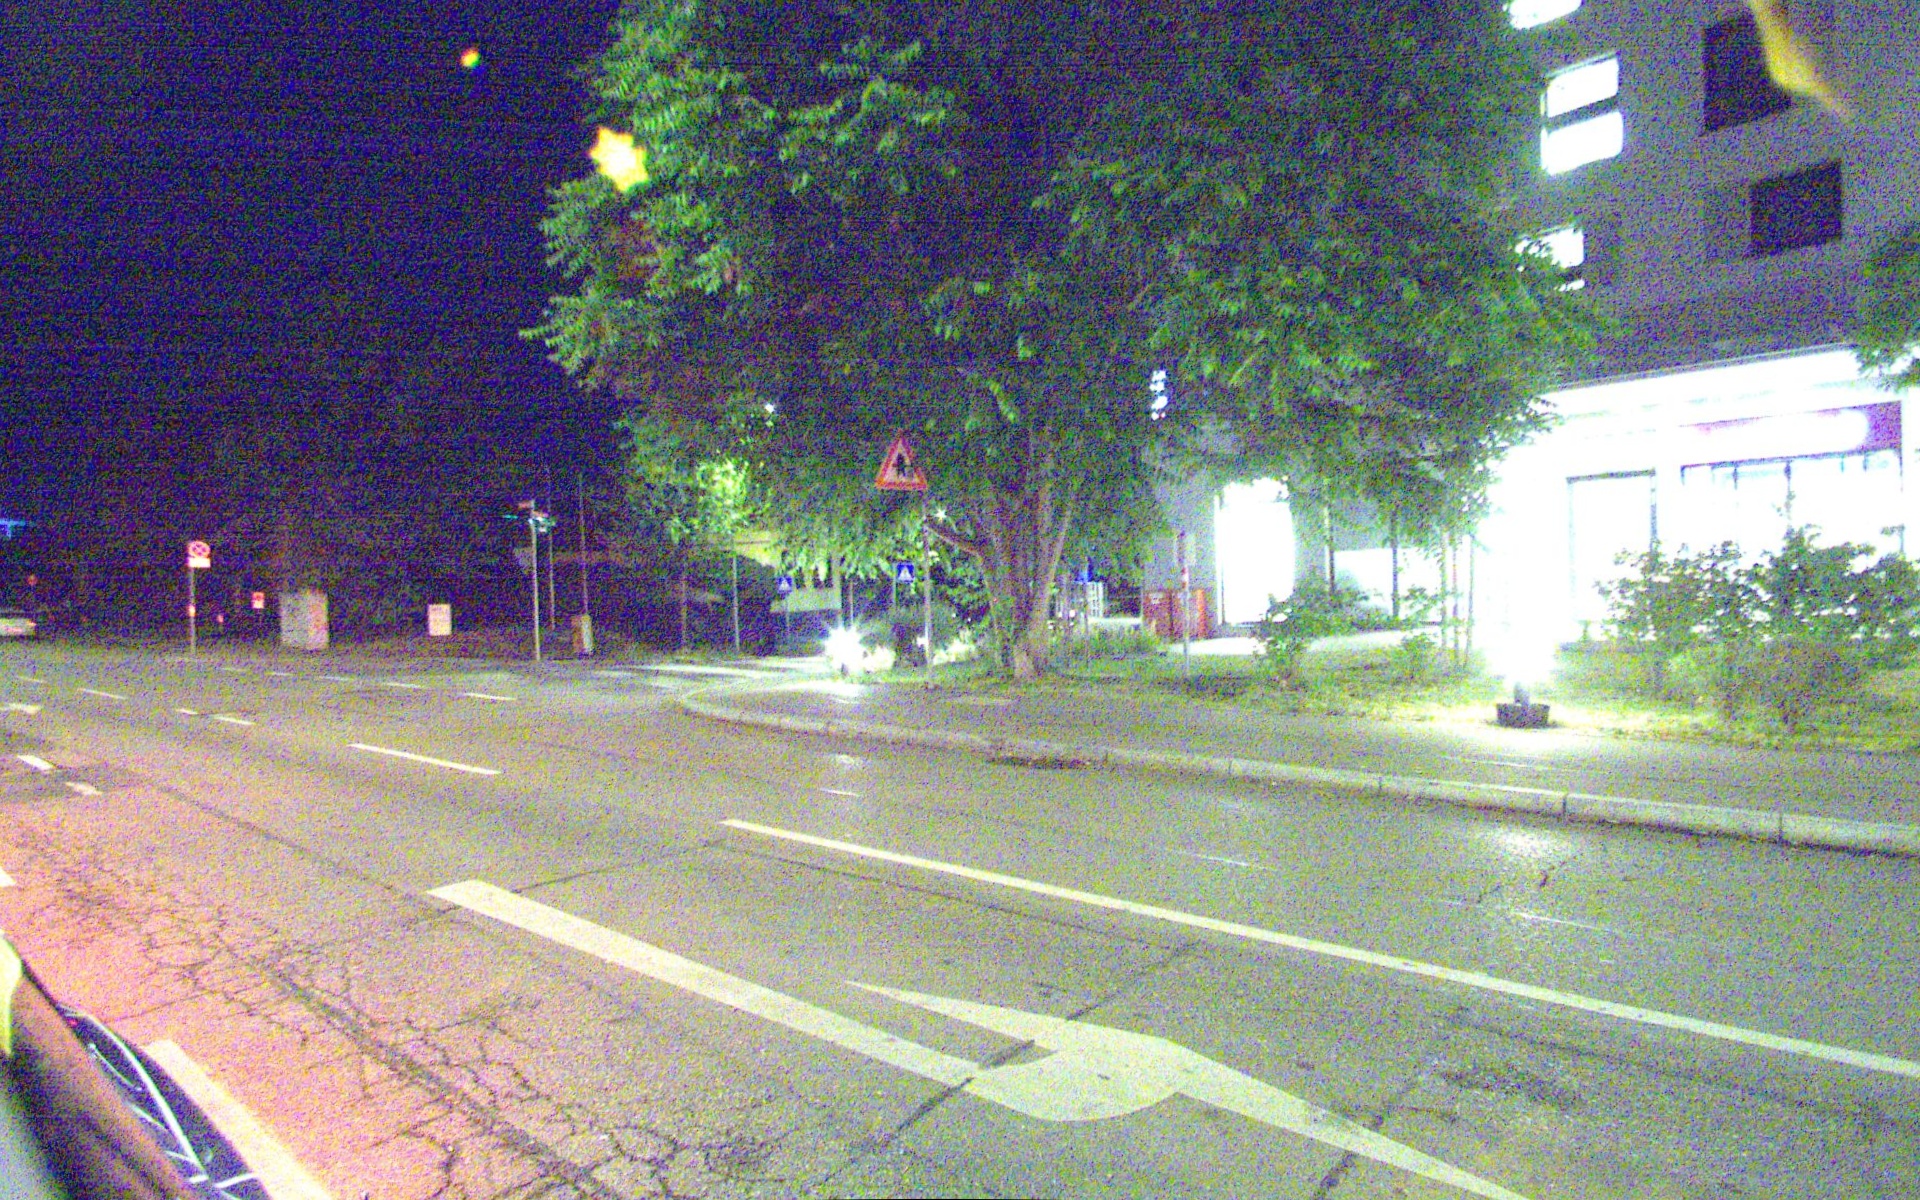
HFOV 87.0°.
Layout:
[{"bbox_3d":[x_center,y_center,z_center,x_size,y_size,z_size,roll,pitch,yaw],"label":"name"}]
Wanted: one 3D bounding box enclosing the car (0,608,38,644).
[{"bbox_3d":[-43.283,1.176,45.803,3.998,1.464,1.887,1,2,41],"label":"car"}]
